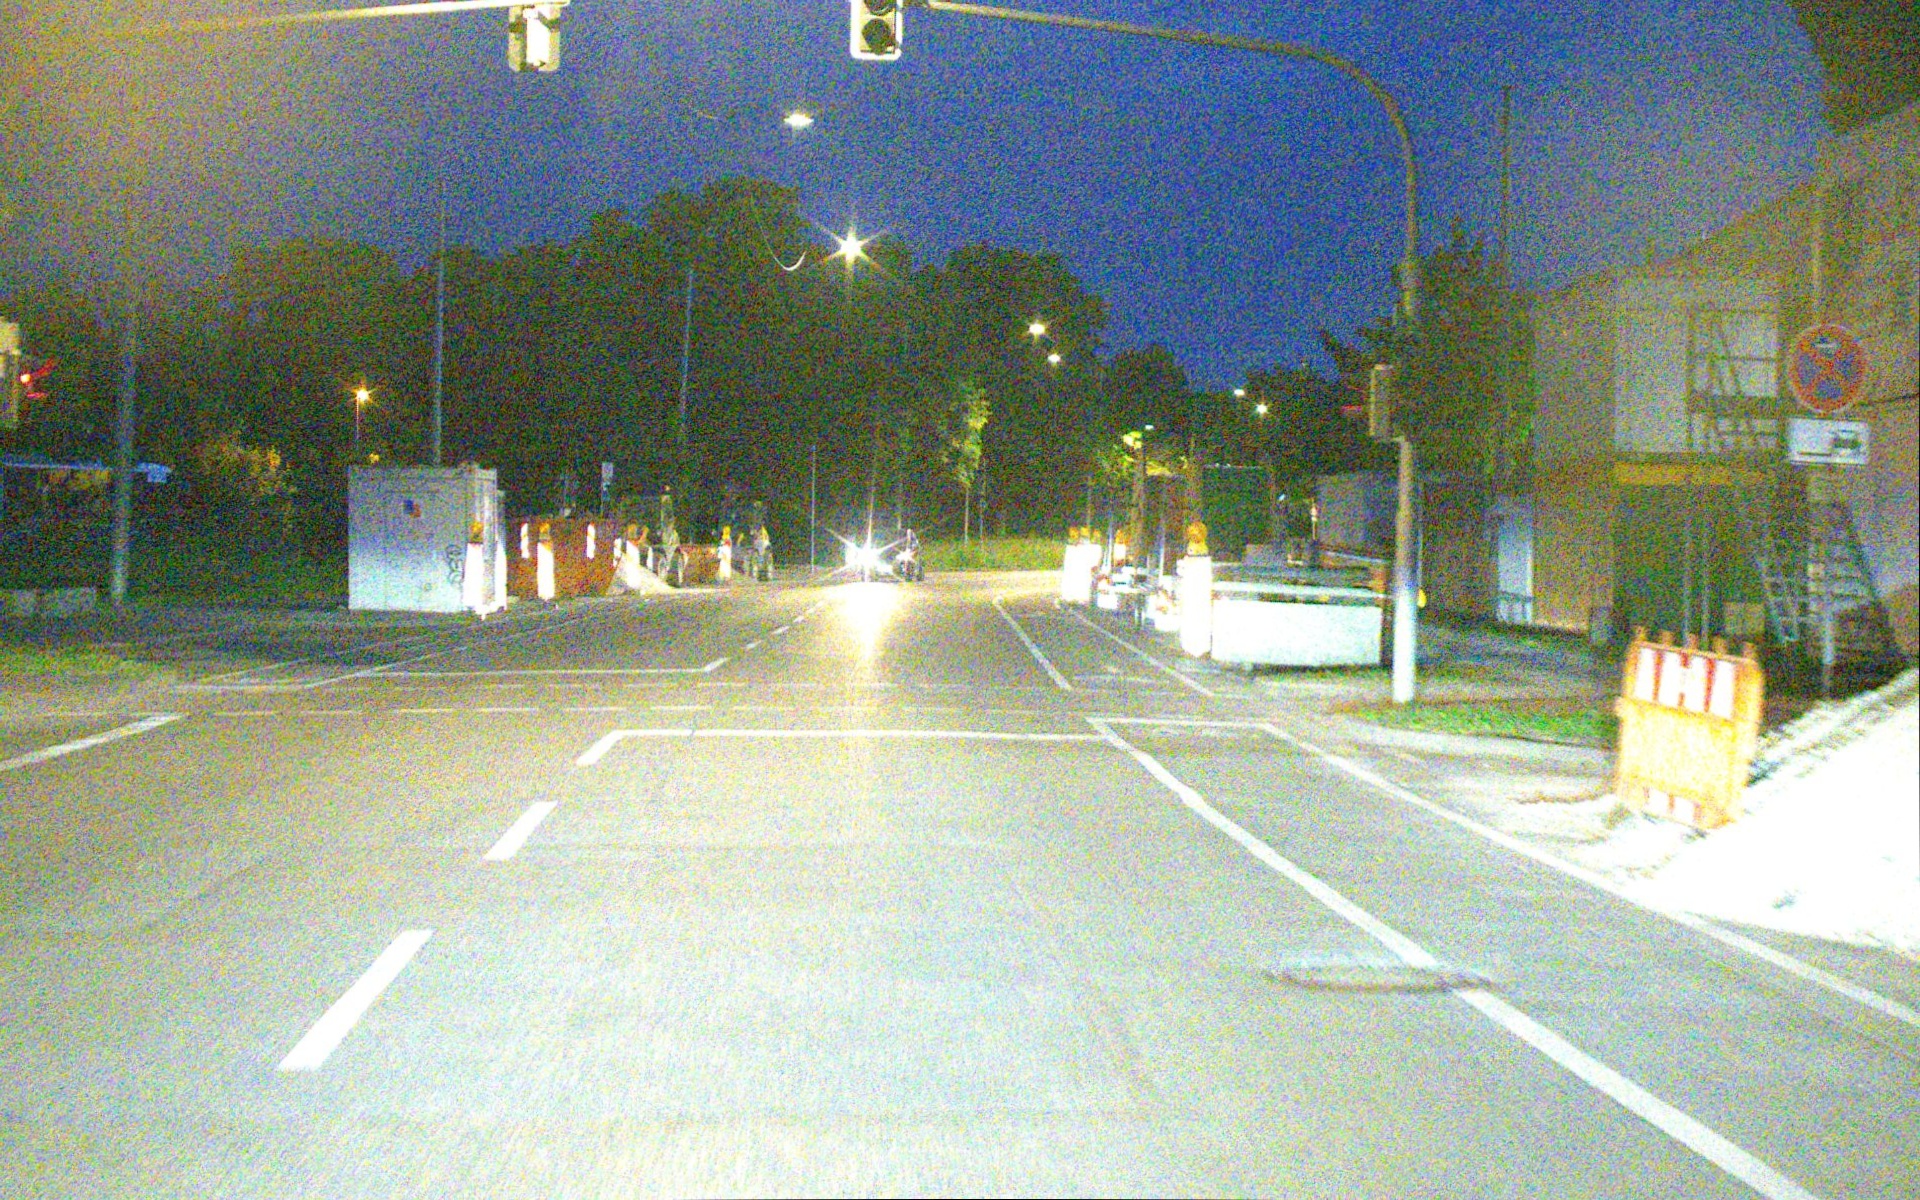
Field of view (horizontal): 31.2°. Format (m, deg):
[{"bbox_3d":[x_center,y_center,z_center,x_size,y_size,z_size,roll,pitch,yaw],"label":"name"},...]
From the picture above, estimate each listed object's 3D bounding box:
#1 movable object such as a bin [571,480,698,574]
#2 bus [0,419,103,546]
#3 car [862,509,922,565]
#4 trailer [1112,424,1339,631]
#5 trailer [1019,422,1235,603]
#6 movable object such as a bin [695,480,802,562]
[{"bbox_3d":[-8.421,-1.934,89.340,1.994,2.368,4.700,1,2,12],"label":"movable object such as a bin"},{"bbox_3d":[-26.175,-2.978,86.130,3.015,3.193,12.663,1,2,17],"label":"bus"},{"bbox_3d":[-1.961,-1.838,99.846,1.696,1.571,2.957,-1,1,-1],"label":"car"},{"bbox_3d":[3.898,-1.065,51.501,2.613,2.836,4.710,2,0,-4],"label":"trailer"},{"bbox_3d":[3.159,-1.652,66.430,3.481,3.208,4.866,2,0,-4],"label":"trailer"},{"bbox_3d":[-6.234,-2.323,101.689,1.994,2.368,4.700,1,1,12],"label":"movable object such as a bin"}]
